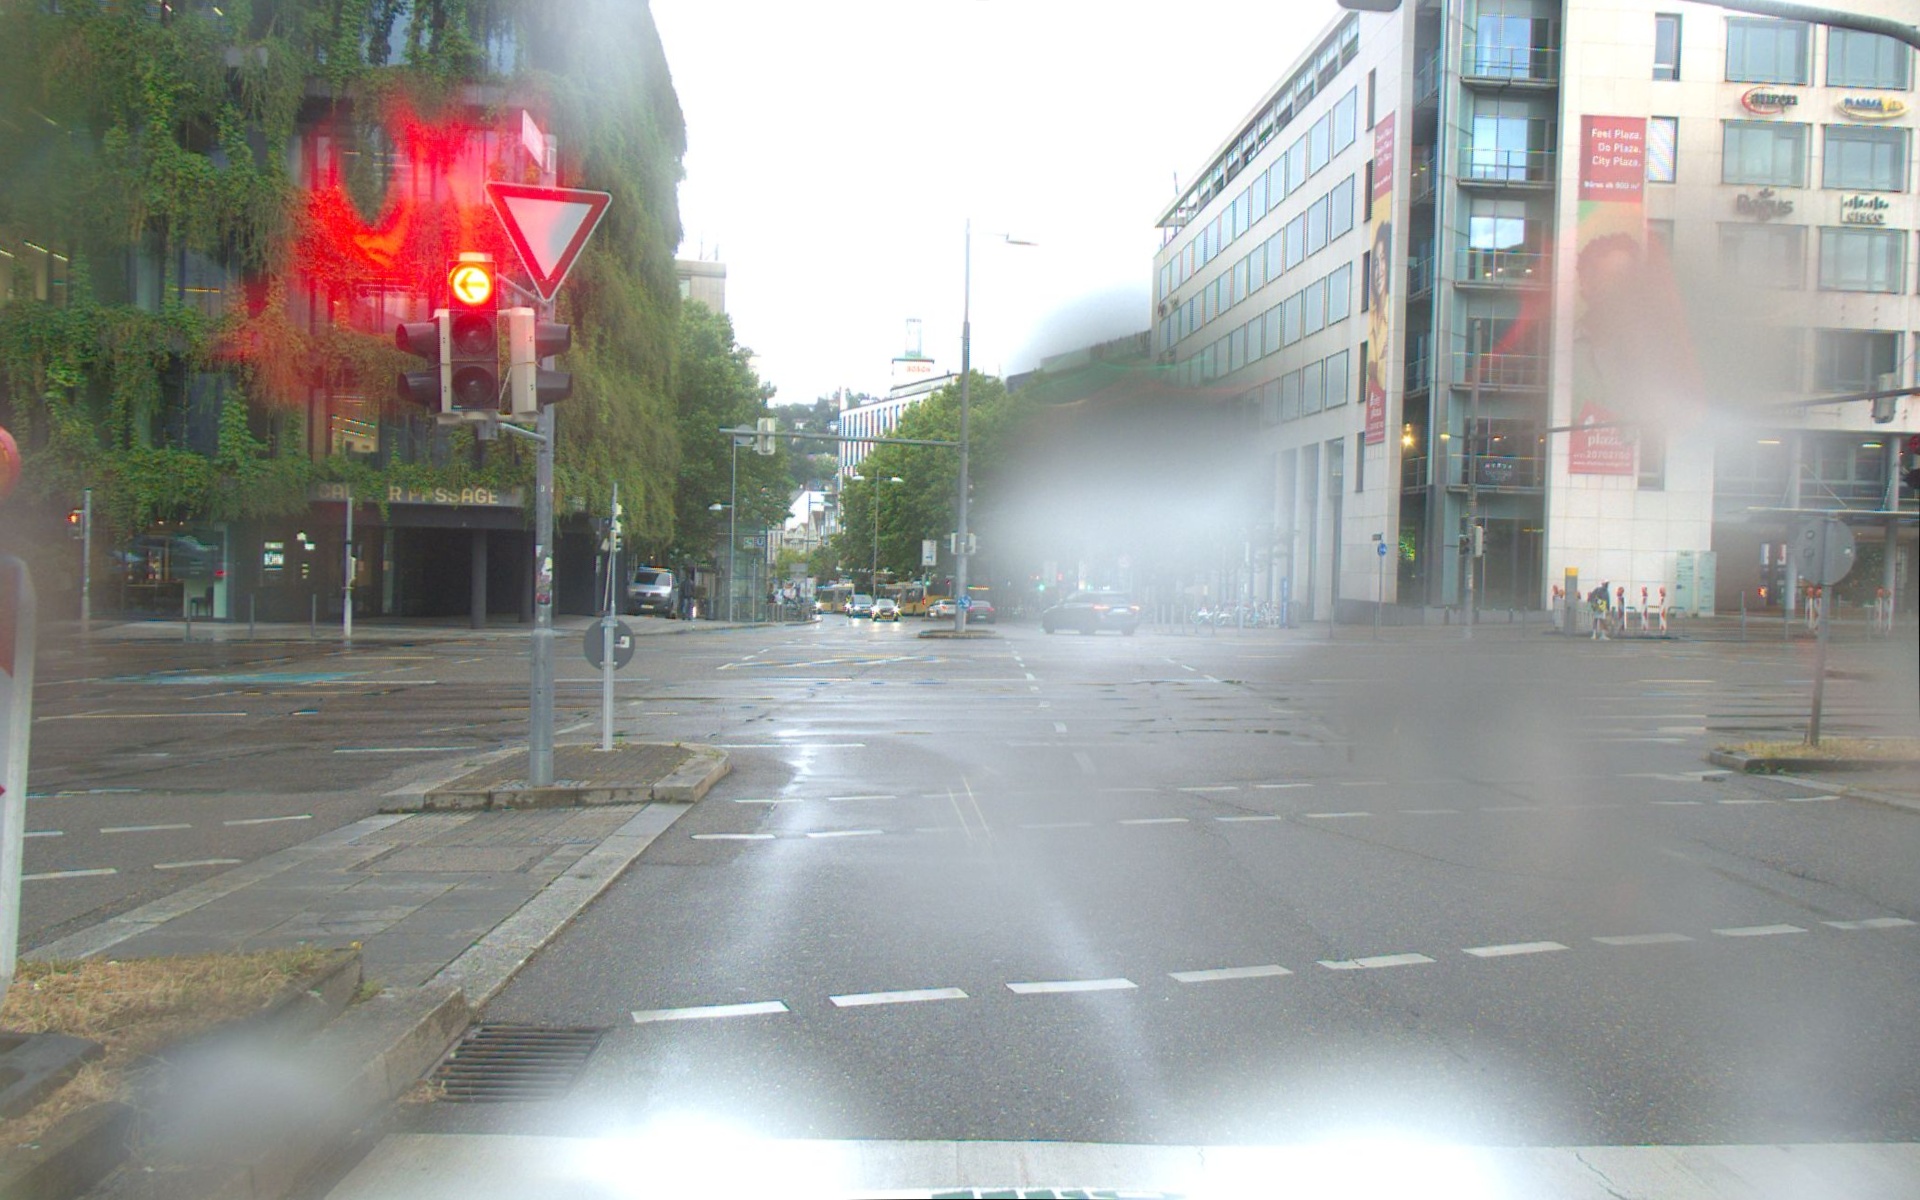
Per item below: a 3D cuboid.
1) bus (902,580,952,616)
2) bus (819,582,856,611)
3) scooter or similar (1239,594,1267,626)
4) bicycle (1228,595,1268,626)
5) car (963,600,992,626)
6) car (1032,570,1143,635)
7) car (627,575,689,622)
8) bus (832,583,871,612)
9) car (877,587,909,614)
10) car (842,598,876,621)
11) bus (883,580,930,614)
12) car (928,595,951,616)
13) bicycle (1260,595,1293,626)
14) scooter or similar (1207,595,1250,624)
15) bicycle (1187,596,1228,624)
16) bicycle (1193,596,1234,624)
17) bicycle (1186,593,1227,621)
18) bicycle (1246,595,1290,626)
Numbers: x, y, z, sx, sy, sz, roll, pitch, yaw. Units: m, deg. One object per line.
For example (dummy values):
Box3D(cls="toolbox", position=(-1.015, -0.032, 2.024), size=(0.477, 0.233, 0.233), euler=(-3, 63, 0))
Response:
Box3D(cls="bus", position=(-2.980, -0.220, 145.891), size=(2.585, 3.048, 7.417), euler=(0, 0, -16))
Box3D(cls="bus", position=(-13.353, -0.381, 180.122), size=(2.585, 3.048, 7.417), euler=(0, 0, -16))
Box3D(cls="scooter or similar", position=(11.385, 0.390, 64.319), size=(0.946, 1.215, 0.453), euler=(1, -1, 40))
Box3D(cls="bicycle", position=(11.583, 0.403, 66.558), size=(0.578, 1.215, 1.766), euler=(1, 0, -28))
Box3D(cls="car", position=(1.075, 0.818, 104.459), size=(1.745, 1.534, 3.999), euler=(1, 0, -1))
Box3D(cls="car", position=(4.144, 0.076, 54.508), size=(1.524, 2.049, 4.630), euler=(1, 0, -25))
Box3D(cls="car", position=(-12.390, -0.060, 68.132), size=(1.832, 1.871, 3.999), euler=(1, 0, -1))
Box3D(cls="bus", position=(-11.355, -0.285, 173.056), size=(2.585, 3.048, 7.296), euler=(0, 0, -16))
Box3D(cls="car", position=(-4.664, 0.072, 114.635), size=(2.121, 1.796, 5.108), euler=(1, 0, -4))
Box3D(cls="car", position=(-7.974, 0.745, 130.191), size=(2.125, 1.796, 4.817), euler=(-1, 0, -11))
Box3D(cls="bus", position=(-4.977, -0.263, 153.007), size=(2.585, 3.048, 7.417), euler=(0, 0, -16))
Box3D(cls="car", position=(-1.598, 0.434, 127.508), size=(1.745, 1.534, 3.999), euler=(1, 0, -1))
Box3D(cls="bicycle", position=(12.858, 0.427, 67.135), size=(0.575, 1.215, 1.776), euler=(0, -1, 37))
Box3D(cls="scooter or similar", position=(11.546, 0.423, 71.145), size=(1.741, 1.215, 0.586), euler=(1, -1, 1))
Box3D(cls="bicycle", position=(11.003, 0.424, 73.562), size=(1.741, 1.215, 0.586), euler=(1, -1, 1))
Box3D(cls="bicycle", position=(11.420, 0.435, 74.486), size=(1.741, 1.215, 0.586), euler=(1, -1, 1))
Box3D(cls="bicycle", position=(10.862, 0.309, 72.927), size=(1.741, 1.215, 0.586), euler=(1, -1, 1))
Box3D(cls="bicycle", position=(12.121, 0.406, 65.014), size=(1.590, 1.215, 0.586), euler=(1, -1, 25))
